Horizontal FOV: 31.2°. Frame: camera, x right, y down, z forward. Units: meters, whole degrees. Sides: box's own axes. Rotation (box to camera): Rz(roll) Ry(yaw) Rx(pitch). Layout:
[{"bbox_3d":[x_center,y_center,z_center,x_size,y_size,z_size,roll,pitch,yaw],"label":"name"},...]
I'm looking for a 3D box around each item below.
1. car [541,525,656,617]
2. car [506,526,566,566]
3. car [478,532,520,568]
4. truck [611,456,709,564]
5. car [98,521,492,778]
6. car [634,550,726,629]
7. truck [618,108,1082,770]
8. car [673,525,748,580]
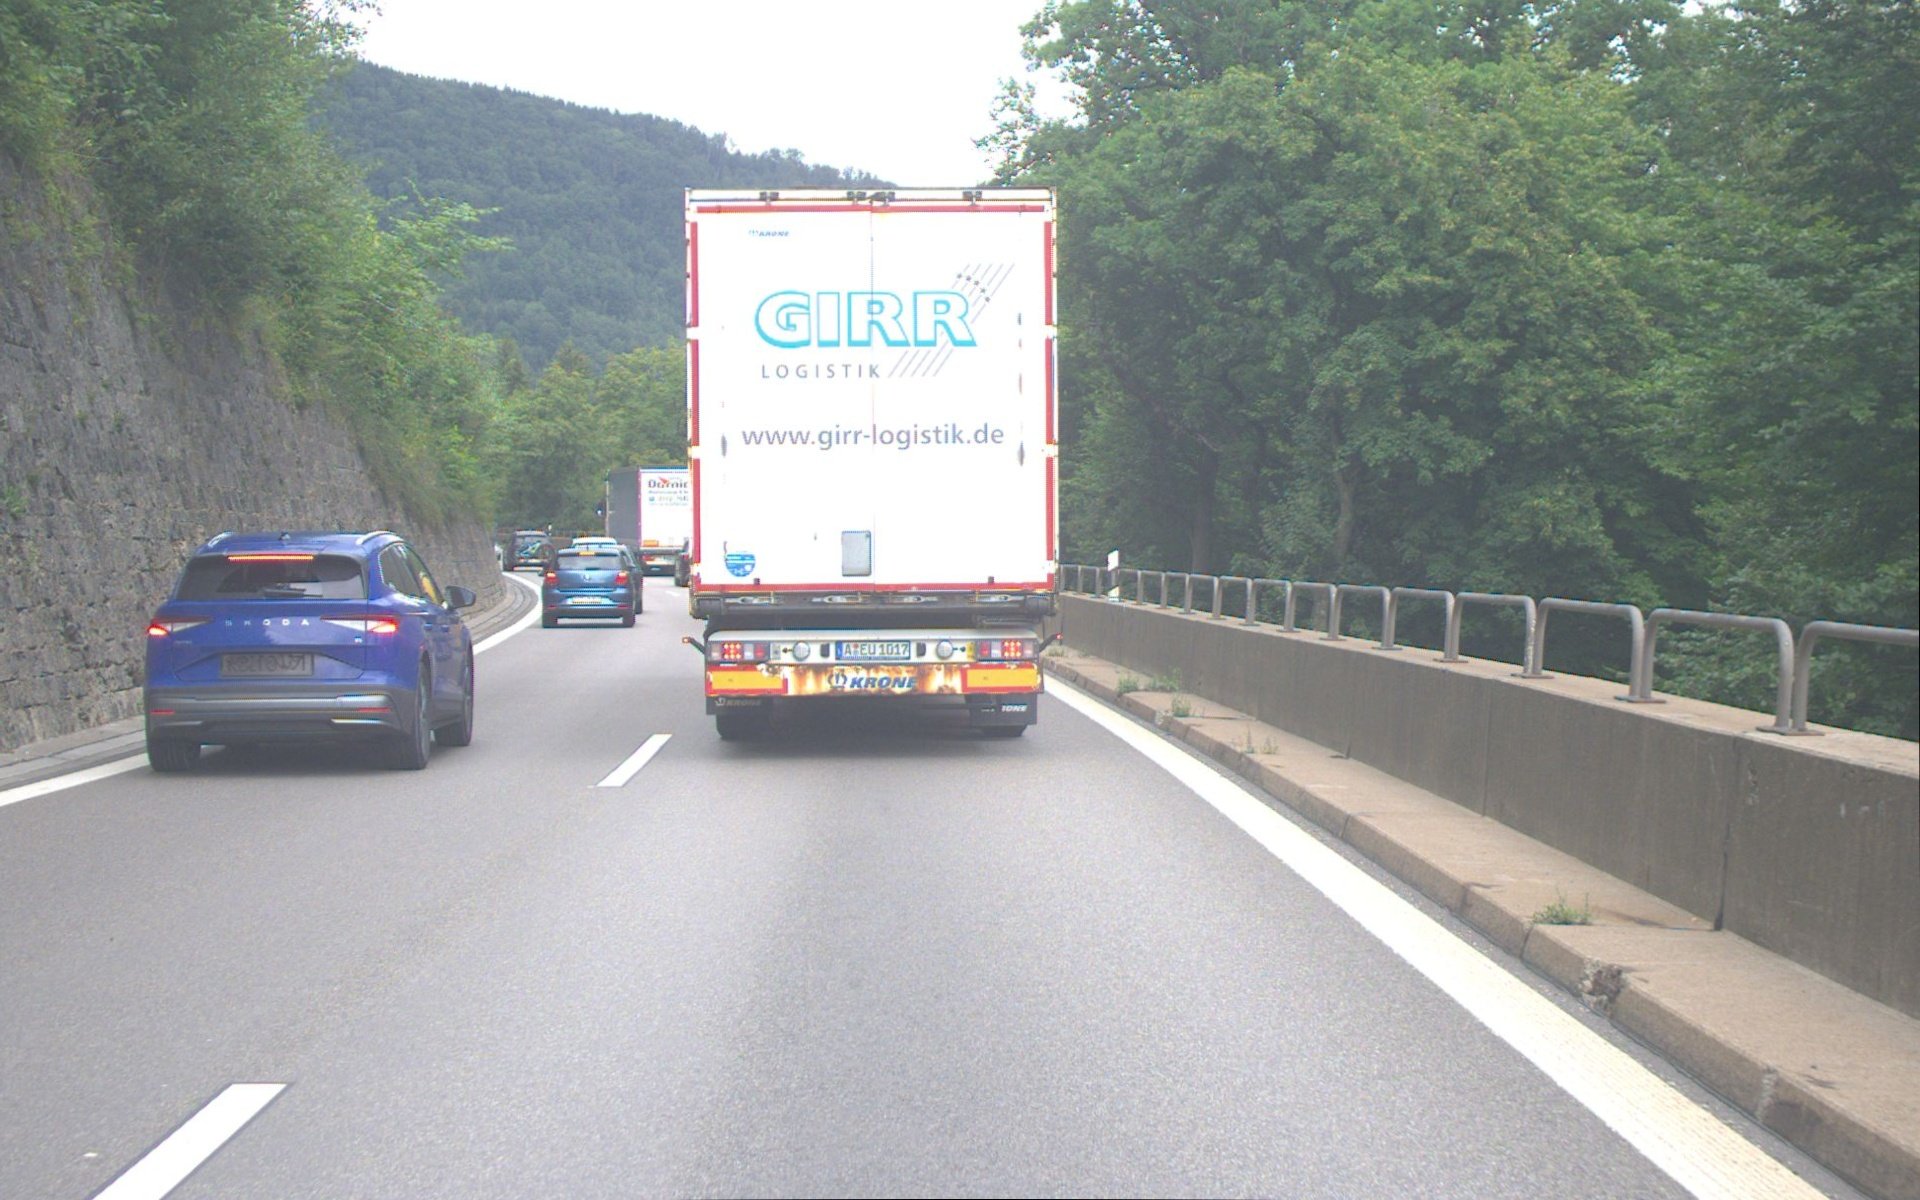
[{"bbox_3d":[-6.661,-0.558,63.087,1.993,1.590,4.355,1,1,-7],"label":"car"},{"bbox_3d":[-17.040,-2.162,138.123,1.896,1.545,4.251,0,1,-14],"label":"car"},{"bbox_3d":[-22.627,-2.465,168.716,1.745,1.581,4.001,6,0,-10],"label":"car"},{"bbox_3d":[-11.335,-3.352,129.010,2.633,3.844,12.363,-1,1,-10],"label":"truck"},{"bbox_3d":[-4.582,0.275,24.437,1.993,1.626,5.009,0,1,-2],"label":"car"},{"bbox_3d":[-5.978,-0.205,73.117,1.745,1.581,4.001,-2,0,-7],"label":"car"},{"bbox_3d":[-0.919,-1.277,30.922,3.084,4.448,15.157,-1,1,-1],"label":"truck"},{"bbox_3d":[-7.770,-1.485,106.720,2.060,1.648,4.001,-1,1,-7],"label":"car"}]
